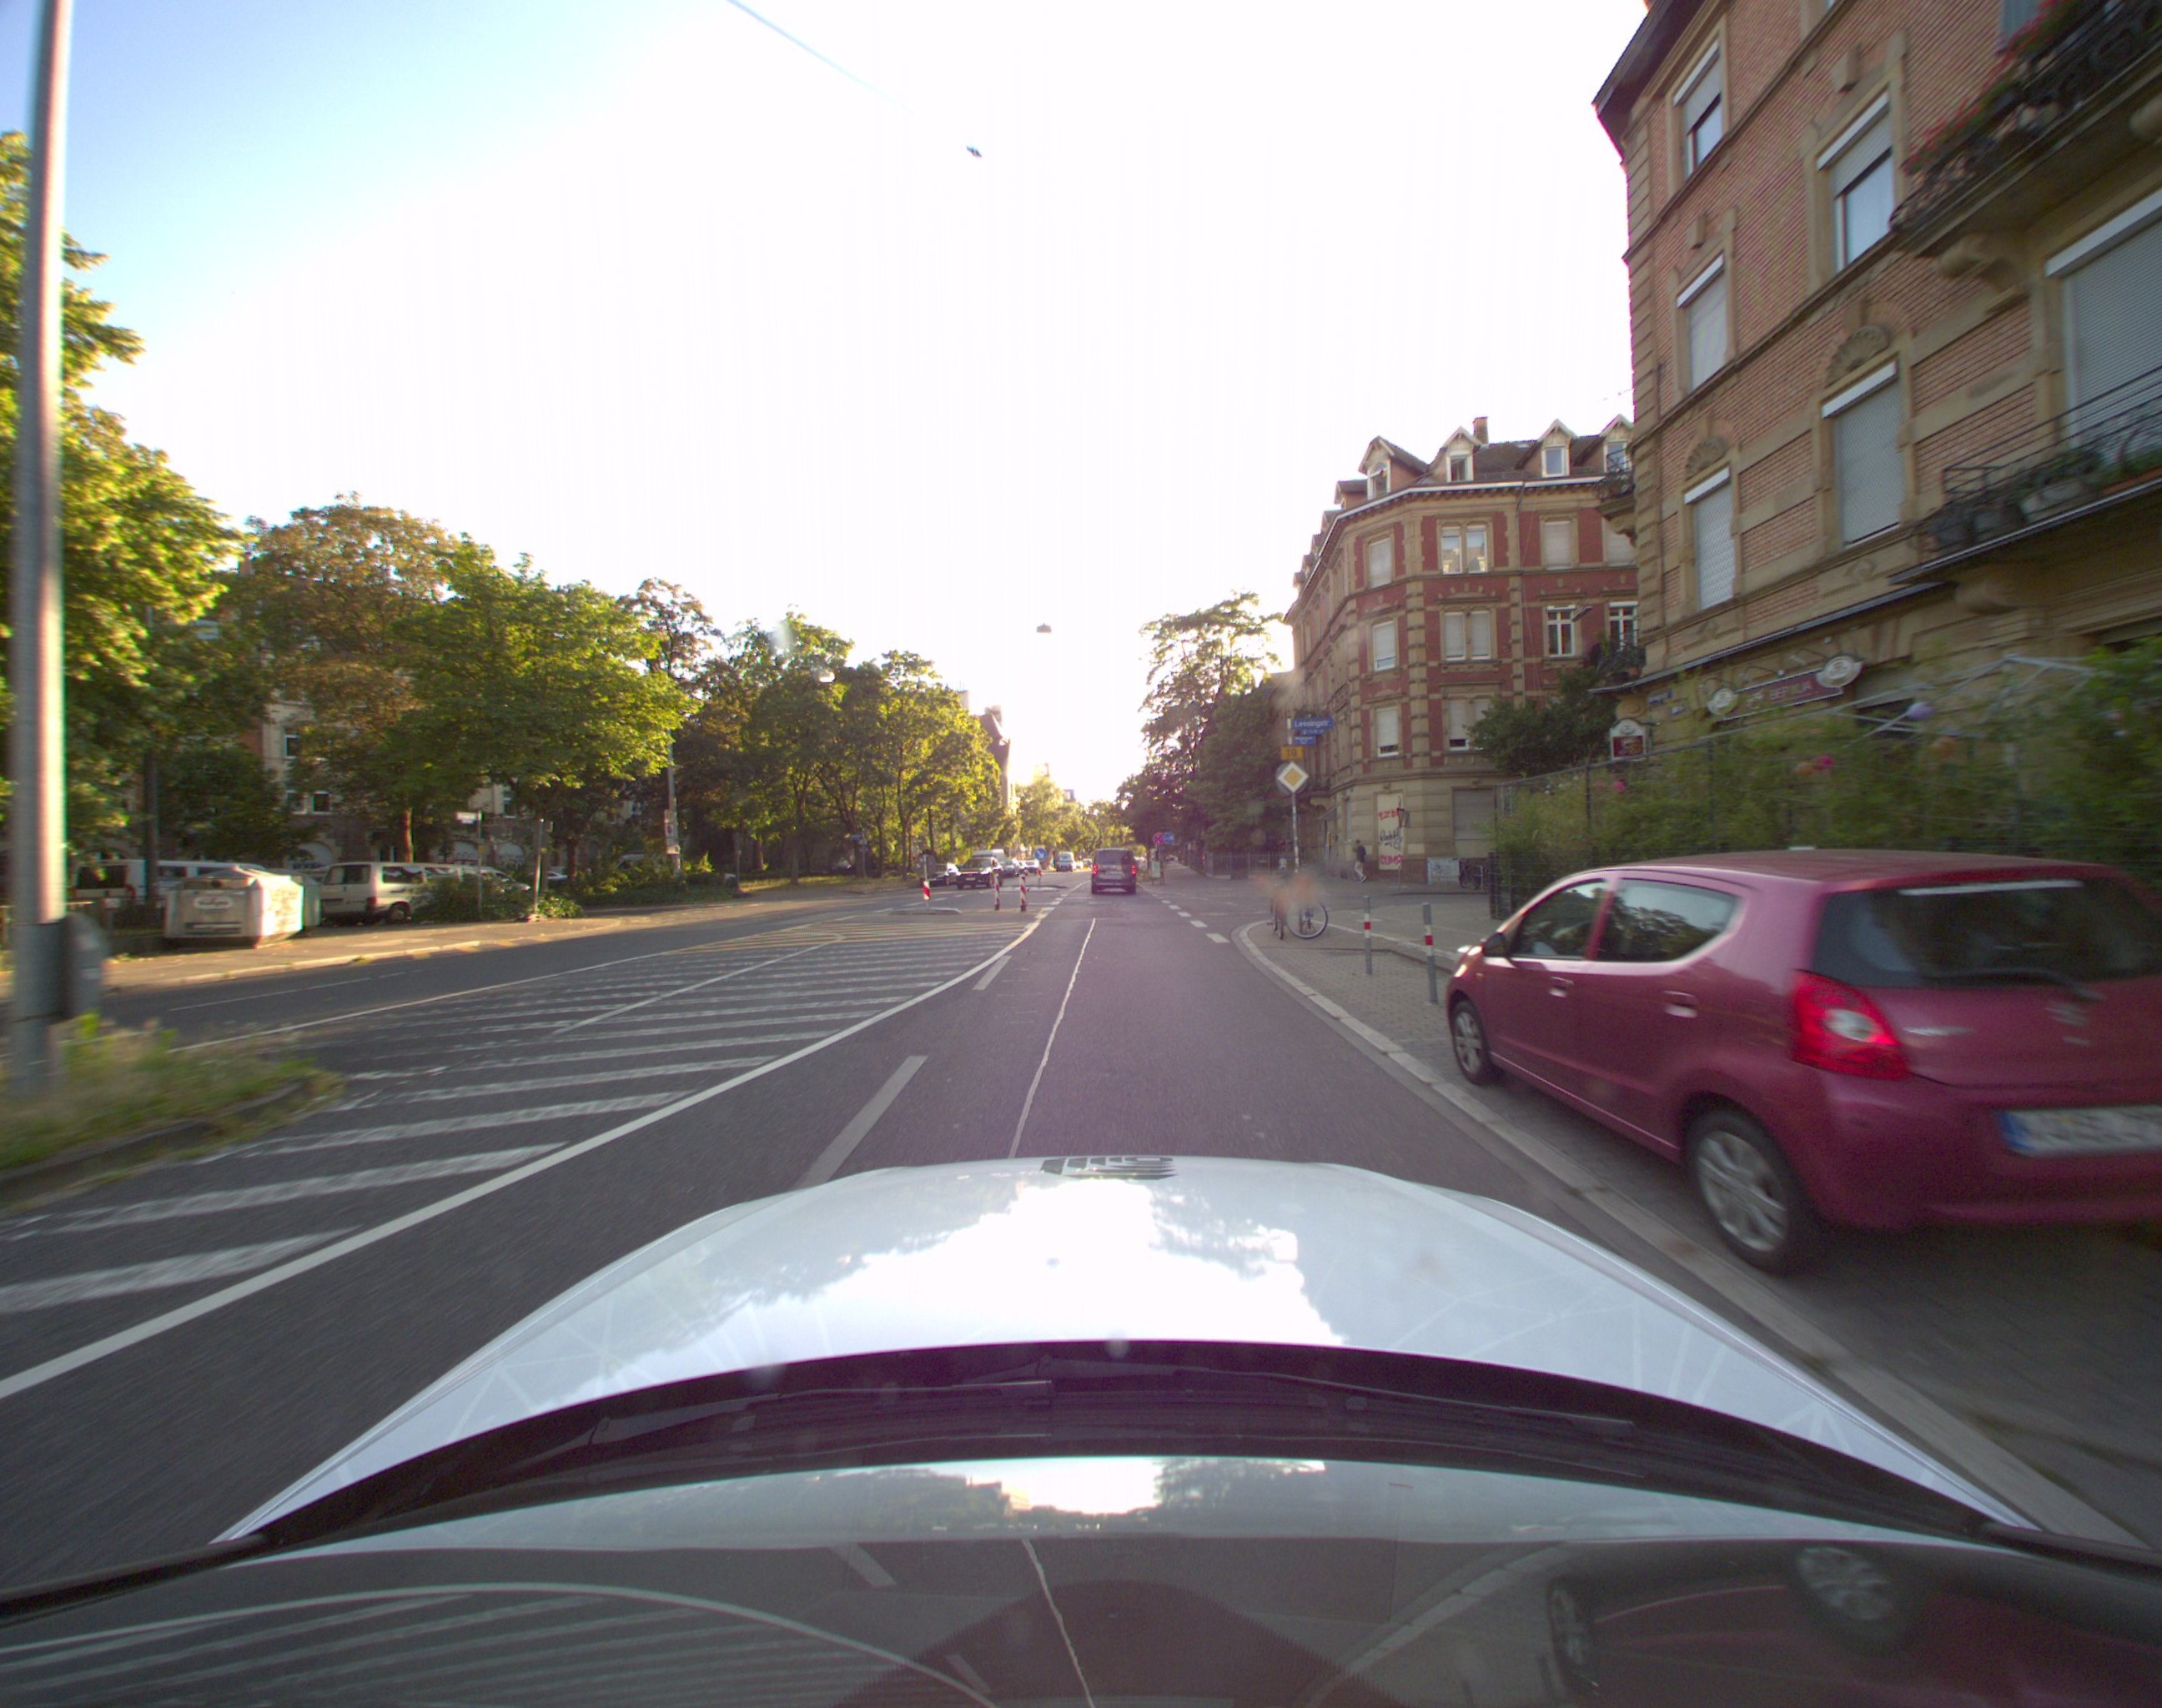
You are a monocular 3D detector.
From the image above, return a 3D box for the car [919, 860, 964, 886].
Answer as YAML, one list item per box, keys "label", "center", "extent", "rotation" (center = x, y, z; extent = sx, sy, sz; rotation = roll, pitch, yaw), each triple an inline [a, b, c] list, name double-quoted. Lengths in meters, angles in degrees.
- label: "car"
  center: [-8.941, 1.174, 52.543]
  extent: [1.615, 1.506, 4.552]
  rotation: [-2, 0, 6]

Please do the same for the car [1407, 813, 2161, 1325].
- label: "car"
  center: [3.252, 0.648, 4.258]
  extent: [1.719, 1.465, 3.549]
  rotation: [-5, 0, 3]

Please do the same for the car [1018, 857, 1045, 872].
- label: "car"
  center: [-5.171, 1.114, 85.741]
  extent: [1.984, 1.483, 4.837]
  rotation: [-2, 0, 6]

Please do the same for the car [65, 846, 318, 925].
- label: "car"
  center: [-28.227, 0.927, 26.177]
  extent: [2.202, 2.289, 5.110]
  rotation: [-1, 0, 8]

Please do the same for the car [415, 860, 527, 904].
- label: "car"
  center: [-27.759, 1.222, 37.230]
  extent: [1.986, 1.882, 4.001]
  rotation: [0, 0, 2]

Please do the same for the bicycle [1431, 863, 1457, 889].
- label: "bicycle"
  center: [12.809, 0.762, 28.769]
  extent: [0.290, 0.817, 1.499]
  rotation: [0, 3, 2]

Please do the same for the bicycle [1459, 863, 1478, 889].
- label: "bicycle"
  center: [13.622, 0.756, 28.676]
  extent: [0.292, 0.817, 1.503]
  rotation: [1, 3, 14]

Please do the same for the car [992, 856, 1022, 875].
- label: "car"
  center: [-6.659, 1.025, 73.540]
  extent: [1.856, 1.645, 4.578]
  rotation: [-2, 0, 5]

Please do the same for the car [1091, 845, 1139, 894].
- label: "car"
  center: [1.423, 0.620, 35.056]
  extent: [1.881, 1.925, 3.840]
  rotation: [-2, 0, 1]

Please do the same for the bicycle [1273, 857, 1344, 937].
- label: "bicycle"
  center: [4.004, 0.740, 14.518]
  extent: [0.563, 1.275, 2.265]
  rotation: [-5, -2, 1]

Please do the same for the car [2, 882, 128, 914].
- label: "car"
  center: [-52.573, 2.239, 42.260]
  extent: [1.870, 1.398, 4.025]
  rotation: [-2, 0, 39]

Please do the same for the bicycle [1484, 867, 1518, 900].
- label: "bicycle"
  center: [10.956, 0.777, 21.270]
  extent: [0.292, 0.817, 1.740]
  rotation: [0, -2, 11]

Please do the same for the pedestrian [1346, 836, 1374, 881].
- label: "pedestrian"
  center: [11.567, 0.174, 33.755]
  extent: [0.742, 1.778, 0.832]
  rotation: [-5, 0, 2]

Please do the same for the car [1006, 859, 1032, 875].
- label: "car"
  center: [-6.010, 1.216, 79.132]
  extent: [1.727, 1.445, 4.632]
  rotation: [-1, 0, 6]

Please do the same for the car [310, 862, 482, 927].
- label: "car"
  center: [-20.843, 1.162, 25.035]
  extent: [1.811, 1.795, 4.001]
  rotation: [-1, 0, 2]

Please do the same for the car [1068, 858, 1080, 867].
- label: "car"
  center: [-1.018, 1.258, 120.519]
  extent: [1.528, 1.248, 3.619]
  rotation: [0, 0, 5]

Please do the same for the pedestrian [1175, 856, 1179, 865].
- label: "pedestrian"
  center: [17.426, 1.232, 148.104]
  extent: [0.641, 1.633, 0.657]
  rotation: [0, 0, 6]

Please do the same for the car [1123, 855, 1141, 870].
- label: "car"
  center: [5.810, 0.946, 92.206]
  extent: [1.984, 1.634, 4.005]
  rotation: [-1, 0, 5]

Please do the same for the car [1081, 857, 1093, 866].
- label: "car"
  center: [1.010, 1.250, 135.237]
  extent: [1.689, 1.451, 4.006]
  rotation: [0, 0, 5]

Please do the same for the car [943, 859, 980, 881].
- label: "car"
  center: [-8.473, 1.129, 58.158]
  extent: [1.620, 1.429, 4.248]
  rotation: [-2, 0, 5]

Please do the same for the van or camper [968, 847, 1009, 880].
- label: "van or camper"
  center: [-7.535, 0.728, 67.025]
  extent: [2.081, 2.468, 6.314]
  rotation: [-2, 0, 5]

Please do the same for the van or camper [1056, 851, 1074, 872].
- label: "van or camper"
  center: [-1.999, 0.946, 106.014]
  extent: [1.986, 2.668, 6.041]
  rotation: [0, 0, 2]

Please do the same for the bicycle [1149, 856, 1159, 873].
- label: "bicycle"
  center: [5.048, 0.731, 56.404]
  extent: [0.644, 1.167, 1.932]
  rotation: [0, 0, 2]

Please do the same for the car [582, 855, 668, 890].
- label: "car"
  center: [-34.886, 1.403, 62.438]
  extent: [2.244, 2.485, 5.267]
  rotation: [-2, 0, 39]

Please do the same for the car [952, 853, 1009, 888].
- label: "car"
  center: [-5.415, 0.858, 44.370]
  extent: [1.866, 1.706, 4.577]
  rotation: [-4, -1, 8]

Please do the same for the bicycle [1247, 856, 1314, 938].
- label: "bicycle"
  center: [3.508, 0.738, 14.518]
  extent: [0.563, 1.299, 2.265]
  rotation: [-5, -2, 1]

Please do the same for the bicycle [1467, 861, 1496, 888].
- label: "bicycle"
  center: [14.090, 0.714, 28.674]
  extent: [0.293, 0.817, 1.499]
  rotation: [0, 3, 2]
